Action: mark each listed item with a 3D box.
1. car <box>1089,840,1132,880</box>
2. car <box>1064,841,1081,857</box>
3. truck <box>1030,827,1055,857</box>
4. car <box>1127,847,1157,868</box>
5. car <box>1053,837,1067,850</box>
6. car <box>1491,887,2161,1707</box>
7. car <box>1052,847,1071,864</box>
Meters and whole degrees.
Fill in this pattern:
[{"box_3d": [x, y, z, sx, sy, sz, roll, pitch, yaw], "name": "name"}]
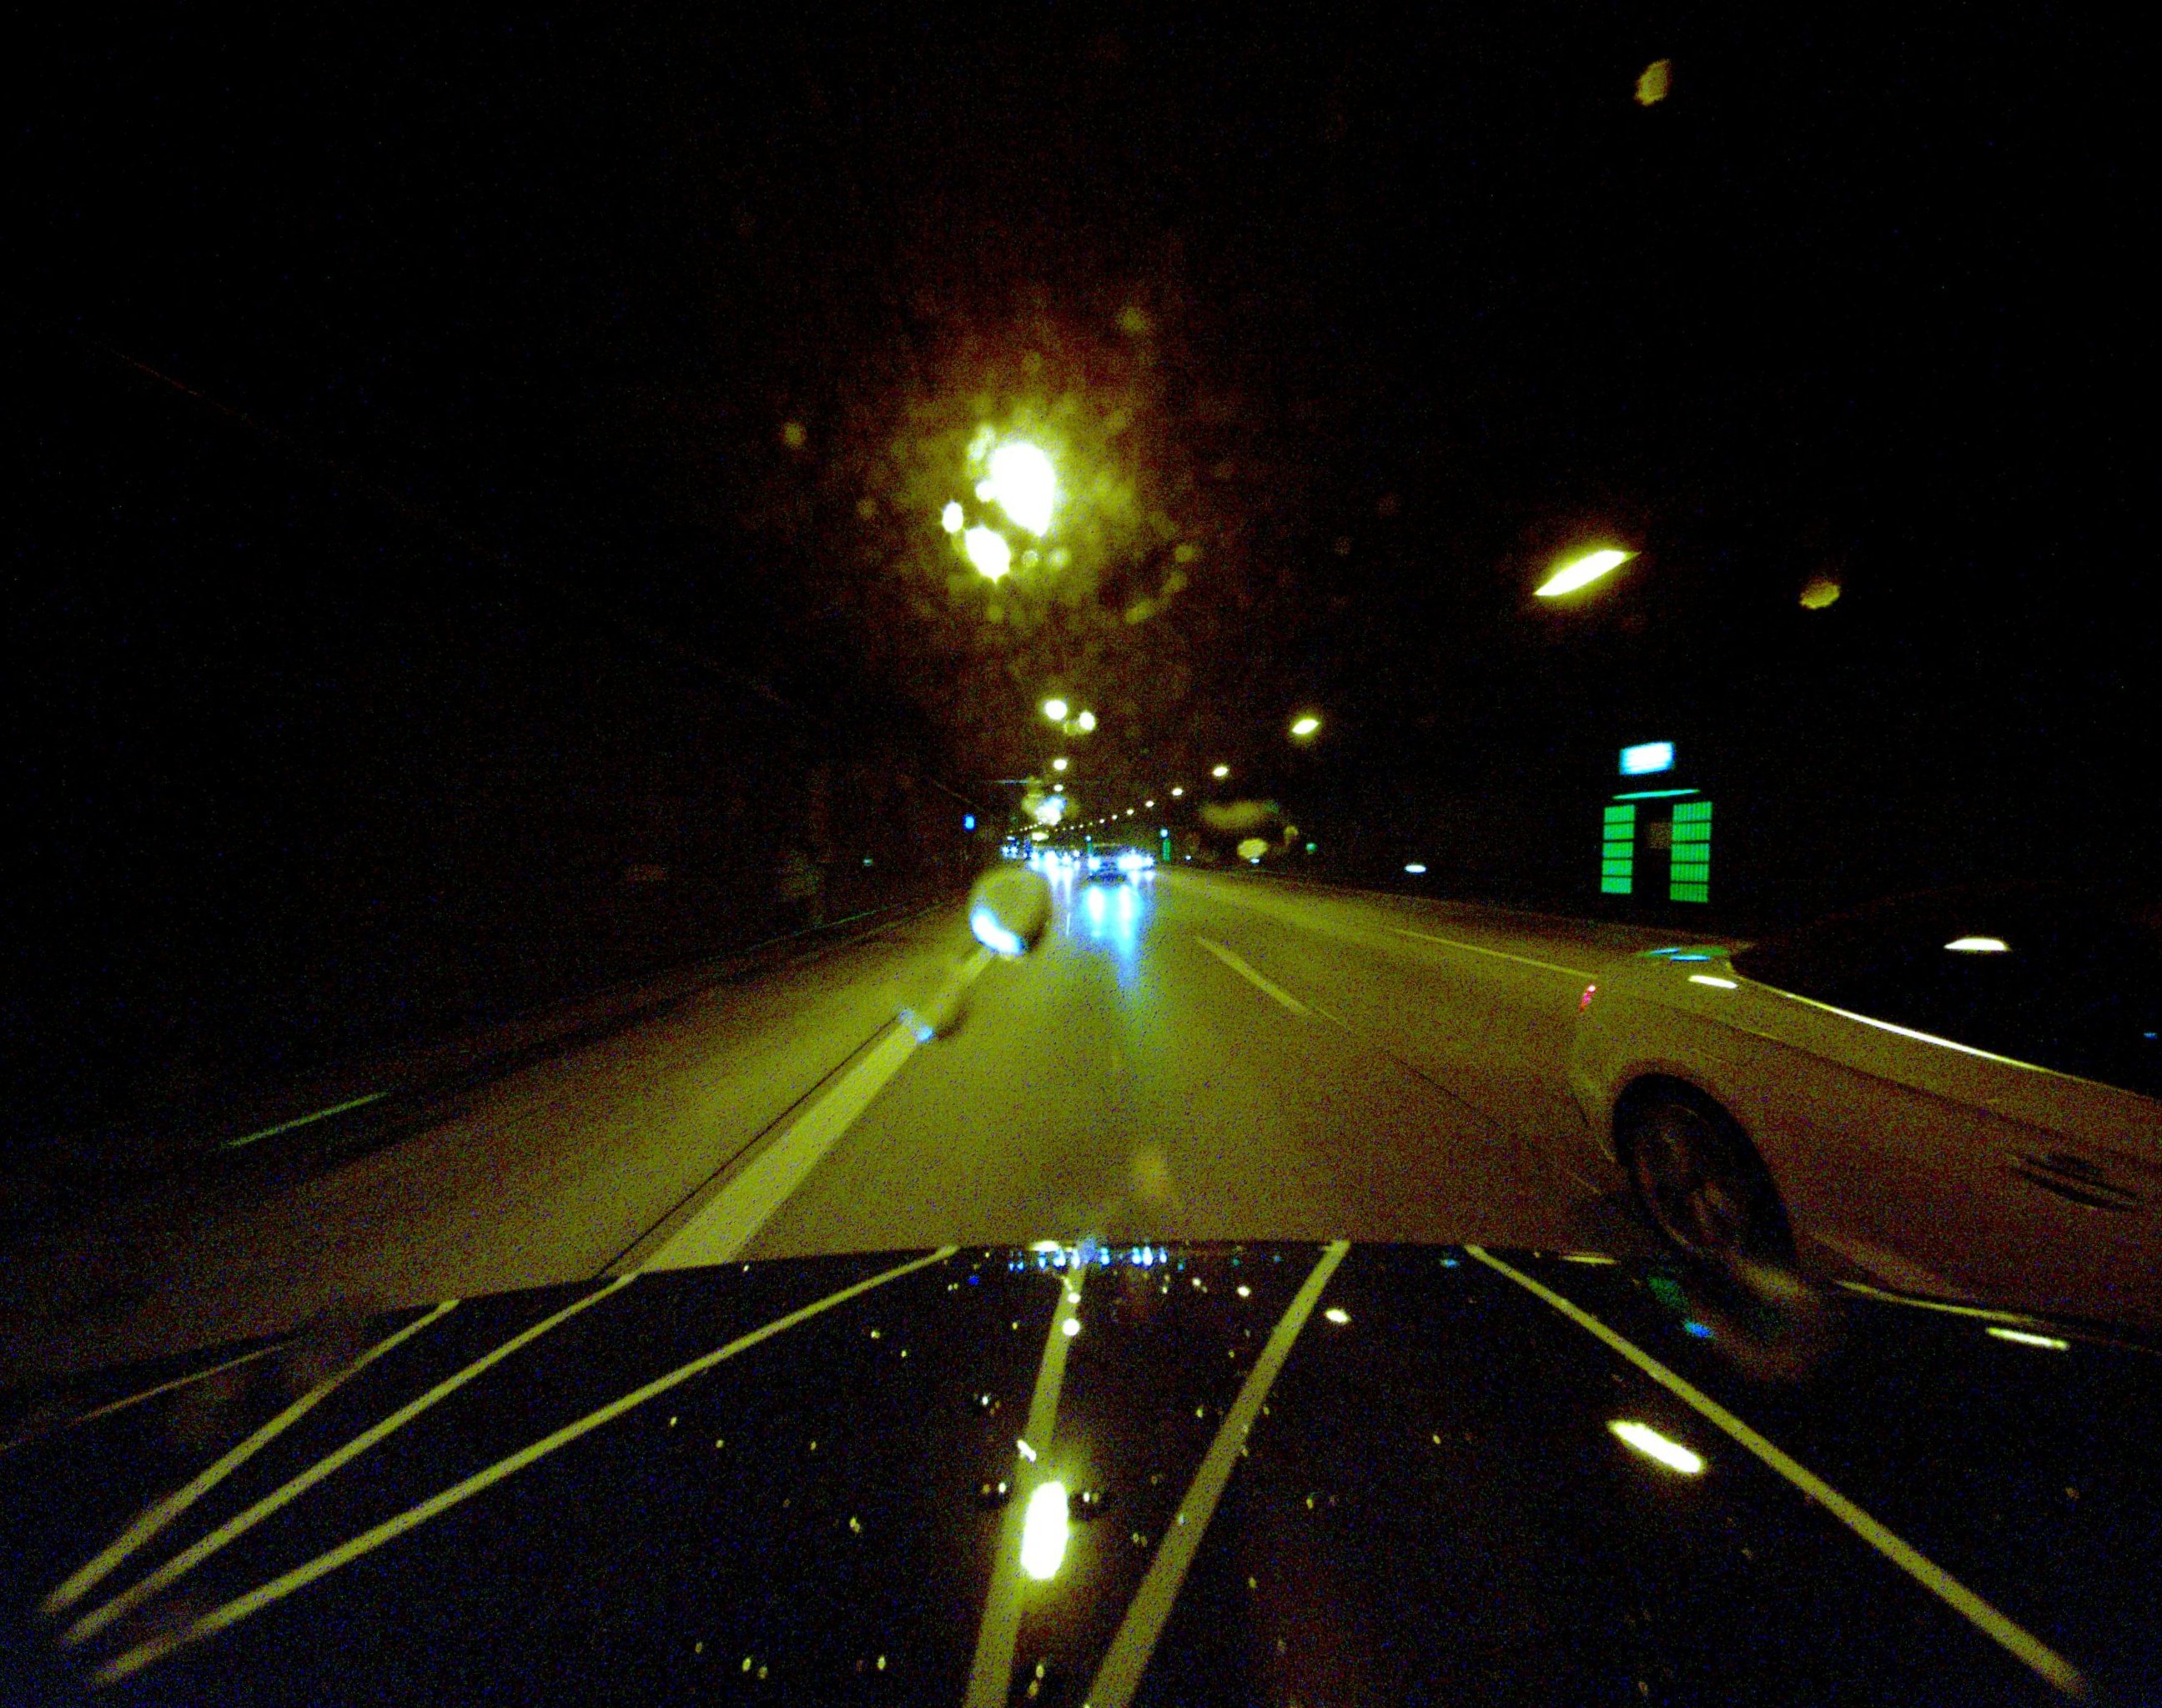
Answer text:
[{"box_3d": [1.535, 0.288, 41.444, 1.999, 2.002, 4.359, -2, 1, -2], "name": "car"}, {"box_3d": [-1.180, -0.679, 105.050, 1.999, 2.003, 3.995, -2, 4, -5], "name": "car"}, {"box_3d": [-5.693, -1.891, 111.388, 3.144, 4.137, 7.379, -2, 3, -7], "name": "truck"}, {"box_3d": [4.609, 0.250, 58.054, 1.739, 1.447, 3.999, -2, 0, -2], "name": "car"}, {"box_3d": [-3.507, -1.734, 124.537, 1.999, 1.810, 3.995, -2, 4, -5], "name": "car"}, {"box_3d": [2.821, 0.932, 1.140, 1.706, 1.411, 5.059, -1, 1, 0], "name": "car"}, {"box_3d": [-1.949, 0.162, 75.215, 1.759, 1.567, 3.998, -2, 1, -3], "name": "car"}]
